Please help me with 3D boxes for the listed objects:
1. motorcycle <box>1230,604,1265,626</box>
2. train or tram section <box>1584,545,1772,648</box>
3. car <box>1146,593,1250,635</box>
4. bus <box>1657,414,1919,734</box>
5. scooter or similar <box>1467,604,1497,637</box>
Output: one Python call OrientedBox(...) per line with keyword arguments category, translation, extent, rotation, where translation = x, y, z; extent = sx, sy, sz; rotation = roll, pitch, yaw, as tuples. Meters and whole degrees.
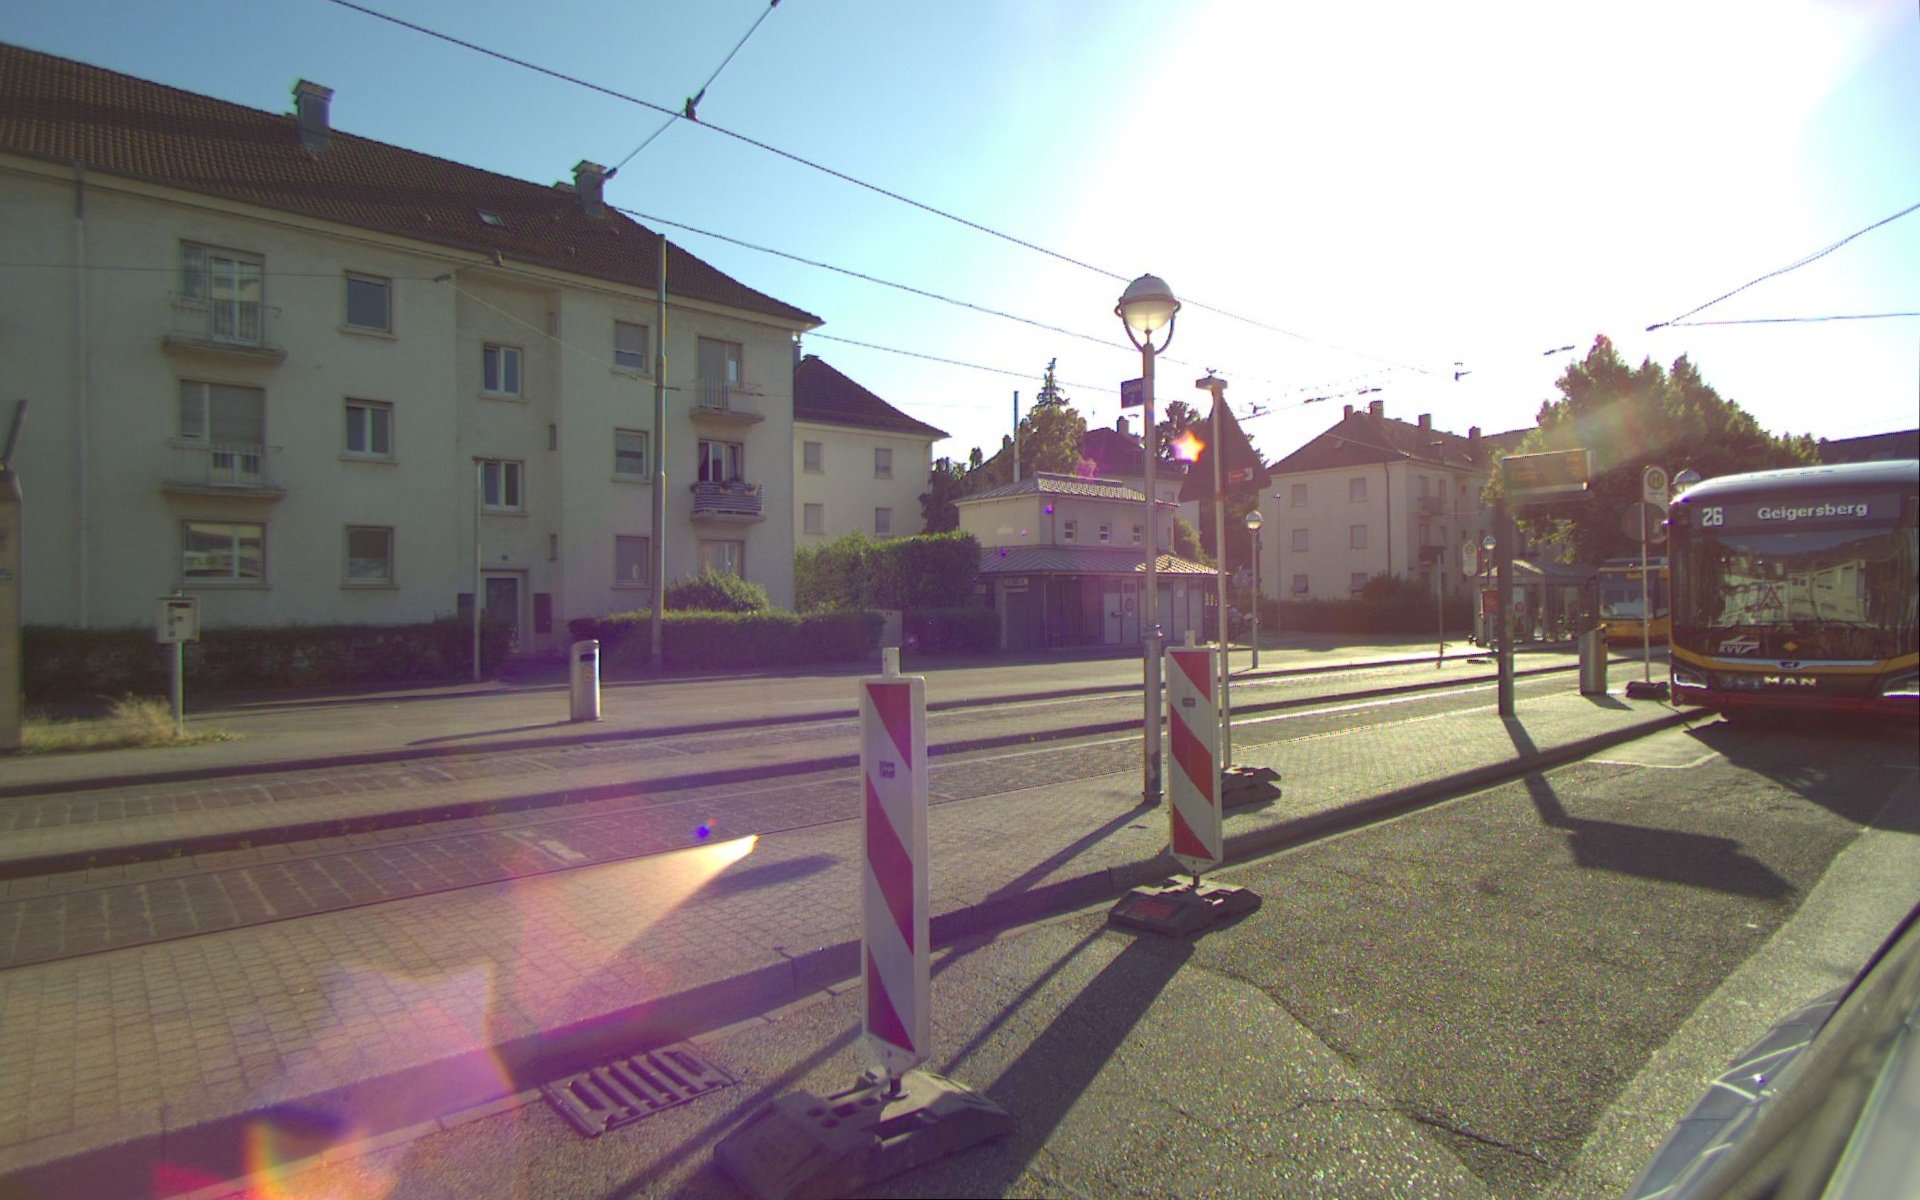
OrientedBox(category="motorcycle", translation=(15.526, 0.815, 54.713), extent=(0.549, 1.177, 1.823), rotation=(0, 0, -43))
OrientedBox(category="train or tram section", translation=(29.830, -0.334, 41.509), extent=(15.698, 3.578, 2.961), rotation=(-2, 1, -42))
OrientedBox(category="car", translation=(10.843, 0.599, 46.410), extent=(1.963, 1.791, 4.451), rotation=(0, 1, -37))
OrientedBox(category="bus", translation=(14.074, -0.286, 15.645), extent=(11.810, 3.460, 2.692), rotation=(0, -1, -42))
OrientedBox(category="scooter or similar", translation=(20.195, 0.787, 39.144), extent=(1.185, 1.223, 0.468), rotation=(0, 0, -30))
